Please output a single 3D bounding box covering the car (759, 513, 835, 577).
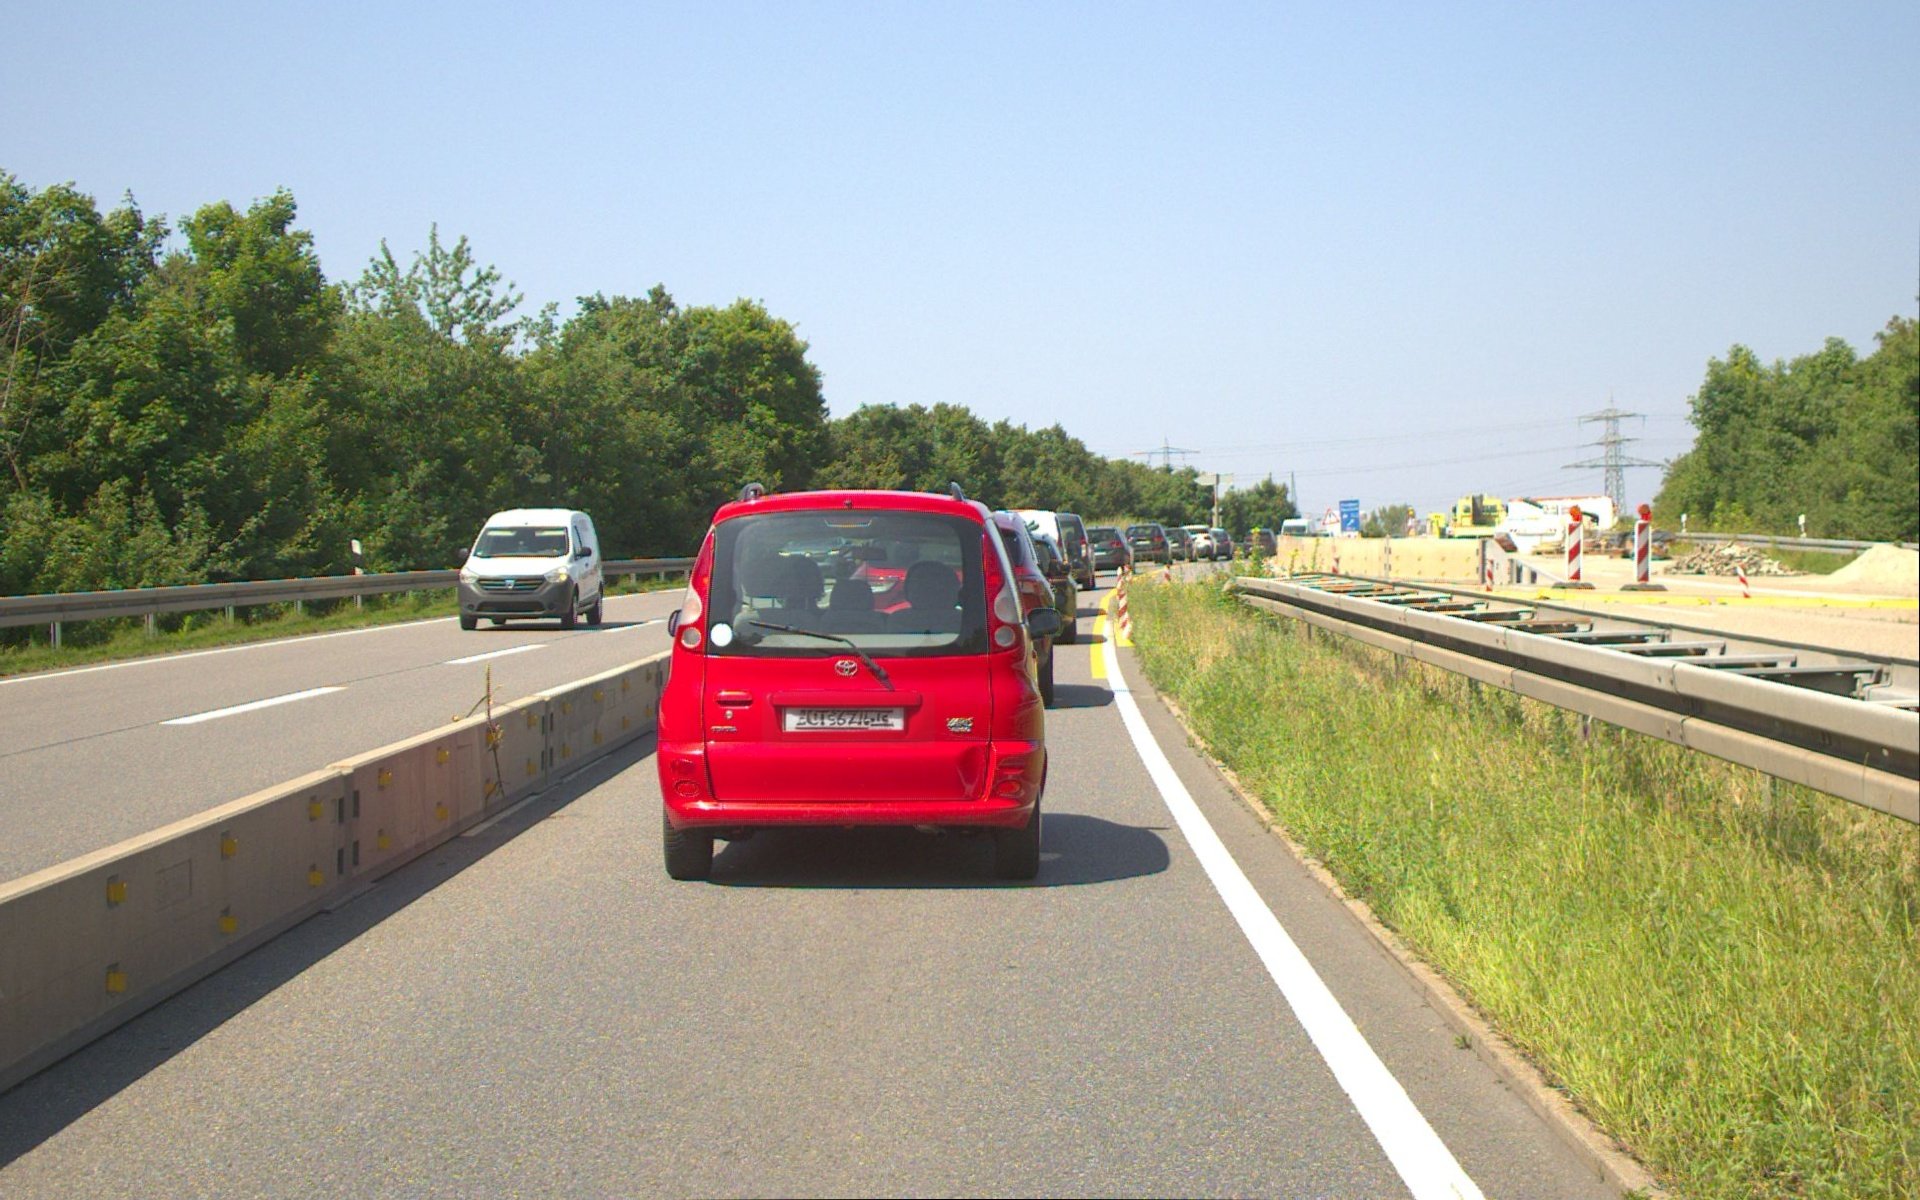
[{"bbox_3d":[-4.347,-1.495,92.188,1.857,1.632,4.385,-1,1,-1],"label":"car"}]

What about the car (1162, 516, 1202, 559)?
[{"bbox_3d":[9.153,-2.578,142.092,1.502,1.730,3.170,-1,1,2],"label":"car"}]

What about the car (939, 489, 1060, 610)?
[{"bbox_3d":[0.652,-0.876,59.342,1.993,1.997,4.000,1,1,0],"label":"car"}]

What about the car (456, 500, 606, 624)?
[{"bbox_3d":[-6.446,-0.599,52.034,1.755,1.759,4.285,-1,1,-1],"label":"car"}]

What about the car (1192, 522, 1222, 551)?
[{"bbox_3d":[12.516,-3.234,174.112,1.502,1.446,3.170,0,1,4],"label":"car"}]

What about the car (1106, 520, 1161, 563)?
[{"bbox_3d":[6.456,-2.196,127.897,1.994,1.579,4.000,0,1,3],"label":"car"}]

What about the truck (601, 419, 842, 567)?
[{"bbox_3d":[-8.973,-4.033,130.162,8.621,5.357,3.389,-1,1,3],"label":"truck"}]

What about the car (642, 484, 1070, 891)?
[{"bbox_3d":[-0.434,0.322,16.078,1.751,1.667,4.000,0,1,0],"label":"car"}]

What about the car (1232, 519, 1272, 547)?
[{"bbox_3d":[16.704,-3.833,196.786,1.993,1.546,4.000,0,1,1],"label":"car"}]

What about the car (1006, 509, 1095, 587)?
[{"bbox_3d":[2.065,-1.216,79.832,1.993,1.744,4.000,0,1,1],"label":"car"}]

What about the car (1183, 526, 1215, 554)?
[{"bbox_3d":[10.956,-2.762,157.644,1.421,1.294,2.879,0,1,4],"label":"car"}]

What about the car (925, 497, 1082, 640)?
[{"bbox_3d":[0.600,-0.447,45.953,1.993,1.831,4.000,0,1,1],"label":"car"}]

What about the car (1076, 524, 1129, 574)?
[{"bbox_3d":[4.154,-1.509,100.555,1.502,1.446,3.325,0,1,1],"label":"car"}]

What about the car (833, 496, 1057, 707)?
[{"bbox_3d":[-0.071,-0.032,30.206,1.830,1.716,4.000,0,1,2],"label":"car"}]

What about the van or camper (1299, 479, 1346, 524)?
[{"bbox_3d":[22.126,-6.006,209.945,2.328,2.697,4.594,-1,1,-1],"label":"van or camper"}]
